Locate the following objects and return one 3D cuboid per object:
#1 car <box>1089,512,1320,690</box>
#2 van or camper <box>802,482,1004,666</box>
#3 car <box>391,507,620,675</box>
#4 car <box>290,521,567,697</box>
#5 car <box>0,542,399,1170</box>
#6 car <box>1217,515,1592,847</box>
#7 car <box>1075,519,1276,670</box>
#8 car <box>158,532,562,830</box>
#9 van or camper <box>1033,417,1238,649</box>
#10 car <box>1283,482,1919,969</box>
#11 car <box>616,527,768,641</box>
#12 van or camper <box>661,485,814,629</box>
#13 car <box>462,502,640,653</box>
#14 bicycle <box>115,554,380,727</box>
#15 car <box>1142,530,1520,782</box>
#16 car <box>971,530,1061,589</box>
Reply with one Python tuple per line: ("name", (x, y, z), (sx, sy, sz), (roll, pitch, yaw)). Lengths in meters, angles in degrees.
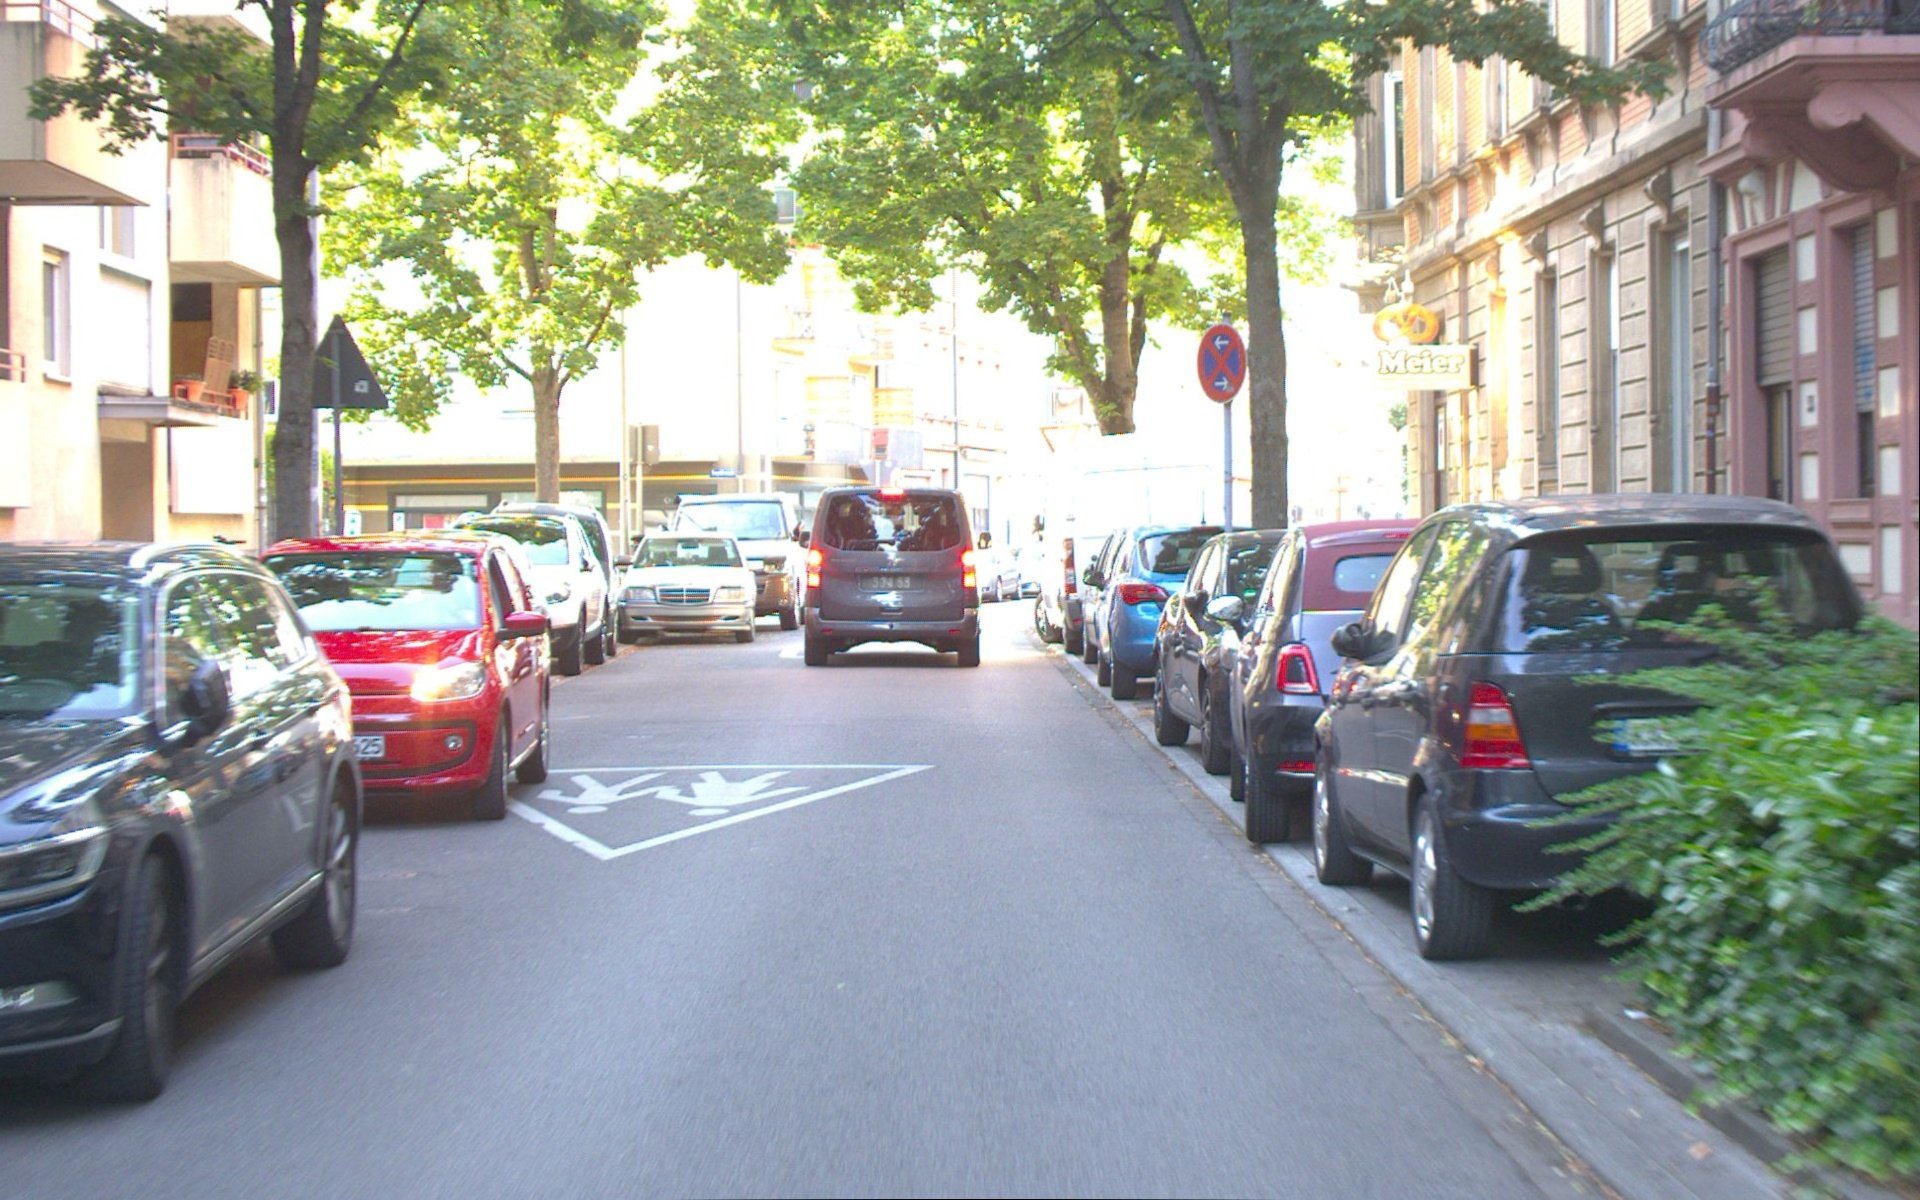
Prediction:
("car", (2.074, -0.031, 30.092), (1.750, 1.466, 3.776), (0, 1, 0))
("van or camper", (-0.562, -0.312, 37.560), (2.035, 1.891, 4.271), (0, 1, 1))
("car", (-4.745, -0.135, 36.392), (1.897, 1.631, 4.156), (1, 1, -1))
("car", (-4.805, 0.036, 31.559), (1.740, 1.479, 3.839), (1, 1, 3))
("car", (-2.965, 0.563, 10.317), (1.846, 1.446, 4.503), (0, 1, 0))
("car", (2.140, 0.326, 17.326), (1.551, 1.491, 3.610), (0, 1, 2))
("car", (2.158, -0.096, 35.348), (1.750, 1.466, 3.776), (0, 1, -1))
("car", (-3.135, 0.362, 18.576), (1.630, 1.425, 3.543), (-1, 1, -2))
("van or camper", (2.012, -0.808, 41.061), (1.993, 2.590, 5.425), (0, 1, -2))
("car", (2.298, 0.365, 13.068), (1.611, 1.553, 3.767), (-1, 1, -2))
("car", (-3.465, -0.236, 44.948), (1.741, 1.399, 3.375), (-1, 1, -1))
("van or camper", (-3.188, -0.648, 50.044), (1.862, 1.976, 4.271), (-1, 1, 1))
("car", (-4.859, -0.297, 41.215), (1.741, 1.706, 3.375), (1, 1, -1))
("bicycle", (-5.148, 0.277, 24.924), (0.605, 1.191, 1.824), (3, 2, 44))
("car", (2.199, 0.278, 21.323), (1.715, 1.398, 3.814), (-1, 1, -3))
("car", (1.530, -1.114, 92.851), (1.796, 1.573, 3.746), (0, 1, 11))
